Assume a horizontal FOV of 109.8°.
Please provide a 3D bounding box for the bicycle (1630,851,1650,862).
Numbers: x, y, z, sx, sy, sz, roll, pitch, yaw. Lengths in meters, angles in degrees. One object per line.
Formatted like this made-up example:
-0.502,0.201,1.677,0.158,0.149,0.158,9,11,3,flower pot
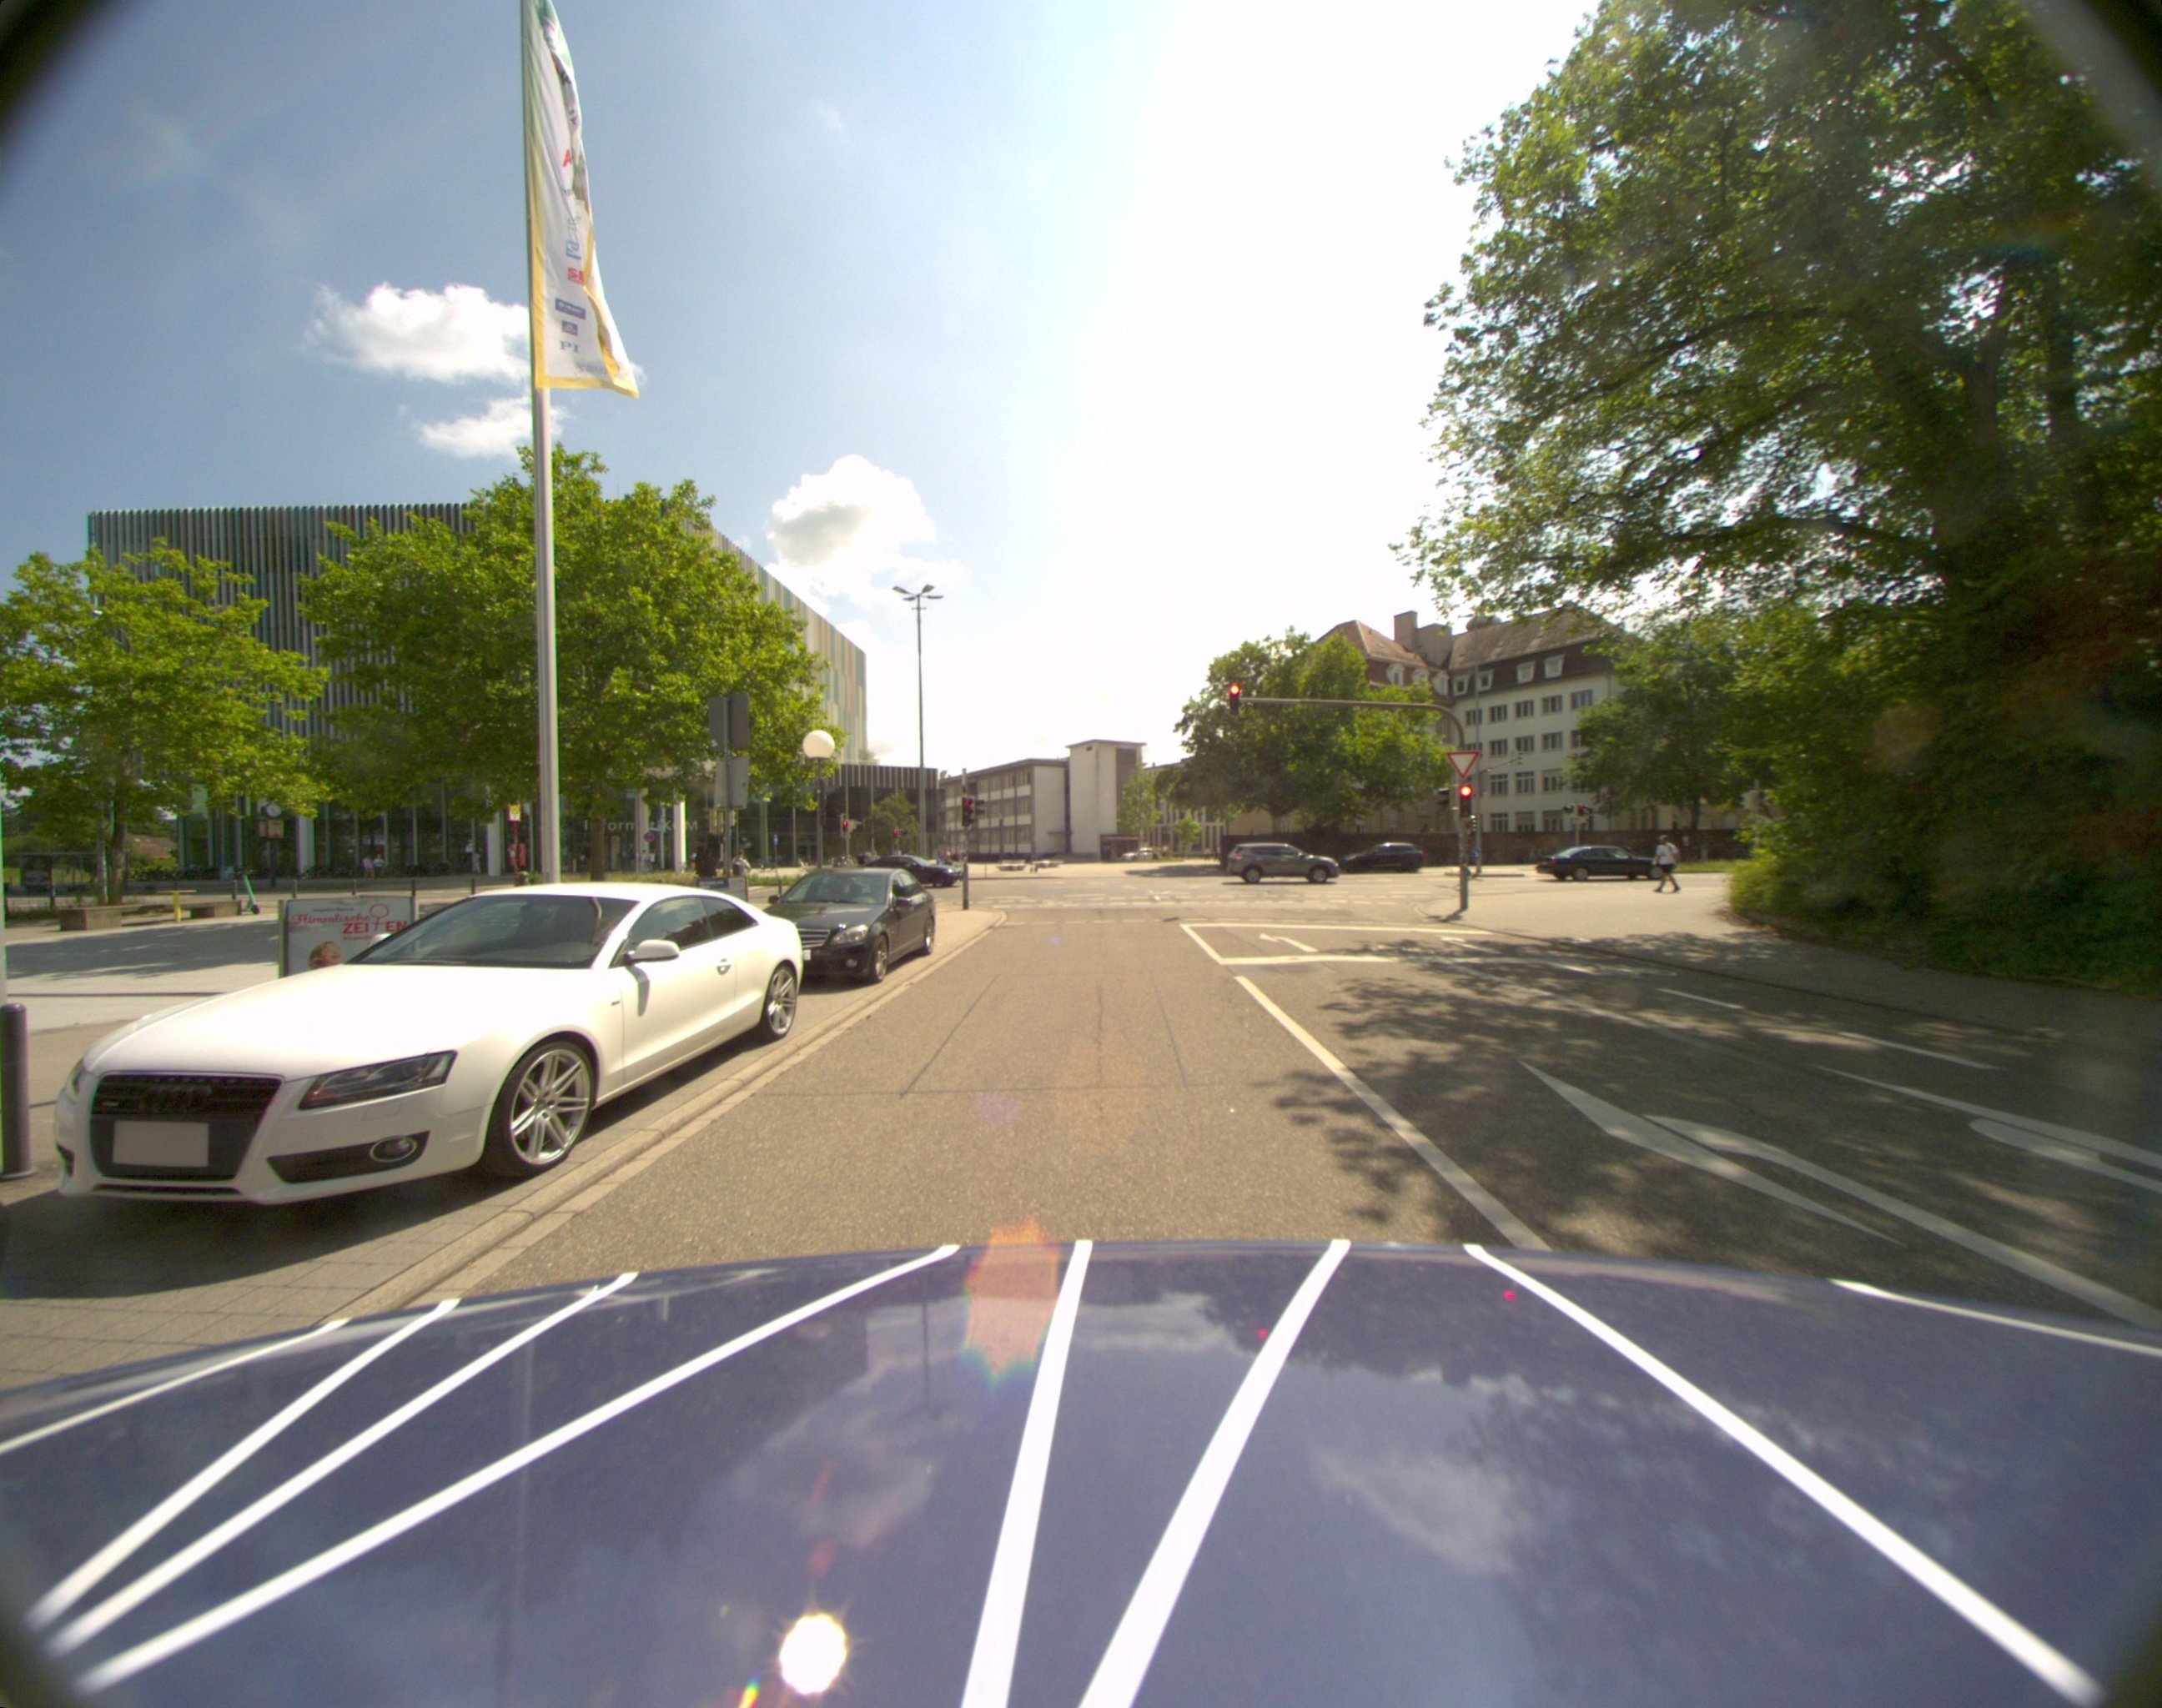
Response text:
38.083,0.155,51.747,0.409,0.678,1.004,-3,3,-36,bicycle

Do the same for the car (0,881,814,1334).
-3.473,1.001,4.989,1.722,1.392,4.438,2,1,2,car

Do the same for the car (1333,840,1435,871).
16.196,0.068,40.776,4.711,1.520,2.000,-1,1,1,car

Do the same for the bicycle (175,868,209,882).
-68.491,1.617,58.538,0.433,0.950,1.785,-1,2,2,bicycle

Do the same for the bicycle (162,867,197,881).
-69.411,1.534,58.528,0.433,0.950,1.785,-1,2,2,bicycle

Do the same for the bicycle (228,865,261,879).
-64.417,1.365,58.531,0.433,0.950,1.785,-1,2,2,bicycle

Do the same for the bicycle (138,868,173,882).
-71.376,1.597,58.592,0.433,0.950,1.785,-1,2,2,bicycle

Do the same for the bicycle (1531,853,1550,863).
30.900,0.272,51.100,0.409,0.678,1.004,-3,3,-36,bicycle

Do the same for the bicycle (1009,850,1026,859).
-7.141,0.052,85.345,1.776,0.950,0.528,-1,3,-26,bicycle

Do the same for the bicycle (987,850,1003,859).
-10.126,0.076,89.342,1.776,0.950,0.528,-1,3,-26,bicycle

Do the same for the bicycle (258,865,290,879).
-61.965,1.373,58.378,0.433,0.950,1.785,-1,2,2,bicycle

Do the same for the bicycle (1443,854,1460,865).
24.794,0.356,50.909,0.409,0.678,1.005,-2,3,-23,bicycle

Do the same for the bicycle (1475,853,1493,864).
27.067,0.323,51.012,0.409,0.678,1.005,-2,3,-23,bicycle

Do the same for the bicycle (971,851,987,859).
-12.411,0.085,92.452,1.776,0.950,0.528,-1,3,-26,bicycle

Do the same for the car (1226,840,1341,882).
8.481,0.273,32.155,4.472,1.669,1.826,-1,2,7,car

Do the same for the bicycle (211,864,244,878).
-65.458,1.327,58.316,0.433,0.950,1.785,-1,2,2,bicycle

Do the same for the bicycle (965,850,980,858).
-13.490,0.050,94.616,1.776,0.950,0.528,-1,3,-26,bicycle

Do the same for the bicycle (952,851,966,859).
-15.807,0.112,98.369,1.776,0.950,0.528,-1,3,-26,bicycle

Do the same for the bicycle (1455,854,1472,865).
25.673,0.340,51.040,0.409,0.678,1.005,-2,3,-23,bicycle

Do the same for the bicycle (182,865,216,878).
-67.913,1.336,58.522,0.433,0.950,1.785,-1,2,2,bicycle

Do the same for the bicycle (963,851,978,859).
-13.796,0.082,95.200,1.776,0.950,0.528,-1,3,-26,bicycle

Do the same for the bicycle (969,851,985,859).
-12.752,0.088,93.278,1.776,0.950,0.528,-1,3,-26,bicycle

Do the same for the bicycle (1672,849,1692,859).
41.358,0.013,52.269,0.409,0.678,1.004,-3,3,-36,bicycle

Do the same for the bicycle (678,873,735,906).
-12.465,1.175,25.357,0.817,1.066,1.892,0,-2,4,bicycle

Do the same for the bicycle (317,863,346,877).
-57.303,1.198,58.105,0.373,0.950,1.548,0,3,17,bicycle

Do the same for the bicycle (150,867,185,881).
-70.325,1.504,58.513,0.433,0.950,1.785,-1,2,2,bicycle

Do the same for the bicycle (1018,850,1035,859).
-6.009,0.068,83.412,1.775,0.950,0.528,-1,3,-24,bicycle

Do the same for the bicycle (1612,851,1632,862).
36.789,0.176,51.639,0.409,0.678,1.004,-3,3,-36,bicycle

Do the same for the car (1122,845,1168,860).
6.673,-0.185,79.354,4.501,1.299,1.995,-2,3,-30,car

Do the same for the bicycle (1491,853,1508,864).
28.245,0.297,51.288,0.409,0.678,1.005,-2,3,-23,bicycle

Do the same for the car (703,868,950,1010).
-3.249,0.987,10.885,1.722,1.392,4.948,1,1,2,car

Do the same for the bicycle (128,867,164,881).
-72.078,1.523,58.588,0.433,0.950,1.785,-1,2,2,bicycle

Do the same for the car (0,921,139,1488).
-3.749,0.949,0.267,1.618,1.488,4.147,1,0,2,car

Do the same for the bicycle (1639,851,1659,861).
38.838,0.130,51.995,0.409,0.678,1.004,-3,3,-36,bicycle

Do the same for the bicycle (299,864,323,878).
-58.168,1.290,57.424,0.373,0.950,1.544,-1,2,-9,bicycle

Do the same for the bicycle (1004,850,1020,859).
-7.864,0.063,86.432,1.776,0.950,0.528,-1,3,-26,bicycle

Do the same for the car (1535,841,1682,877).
21.232,0.191,30.777,4.607,1.379,1.698,-1,2,9,car

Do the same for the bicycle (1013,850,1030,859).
-6.603,0.032,84.511,1.776,0.950,0.528,-1,3,-26,bicycle

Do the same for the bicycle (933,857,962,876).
-8.456,0.761,48.018,1.673,1.118,0.694,-2,1,-23,bicycle

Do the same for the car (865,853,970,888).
-7.220,0.706,33.832,4.186,1.408,1.830,-1,2,3,car

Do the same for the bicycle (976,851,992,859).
-11.661,0.103,91.378,1.776,0.950,0.528,-1,3,-26,bicycle

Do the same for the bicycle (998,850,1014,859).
-8.591,0.067,87.539,1.776,0.950,0.528,-1,3,-26,bicycle

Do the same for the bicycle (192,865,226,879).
-66.950,1.358,58.354,0.433,0.950,1.785,-1,2,2,bicycle
